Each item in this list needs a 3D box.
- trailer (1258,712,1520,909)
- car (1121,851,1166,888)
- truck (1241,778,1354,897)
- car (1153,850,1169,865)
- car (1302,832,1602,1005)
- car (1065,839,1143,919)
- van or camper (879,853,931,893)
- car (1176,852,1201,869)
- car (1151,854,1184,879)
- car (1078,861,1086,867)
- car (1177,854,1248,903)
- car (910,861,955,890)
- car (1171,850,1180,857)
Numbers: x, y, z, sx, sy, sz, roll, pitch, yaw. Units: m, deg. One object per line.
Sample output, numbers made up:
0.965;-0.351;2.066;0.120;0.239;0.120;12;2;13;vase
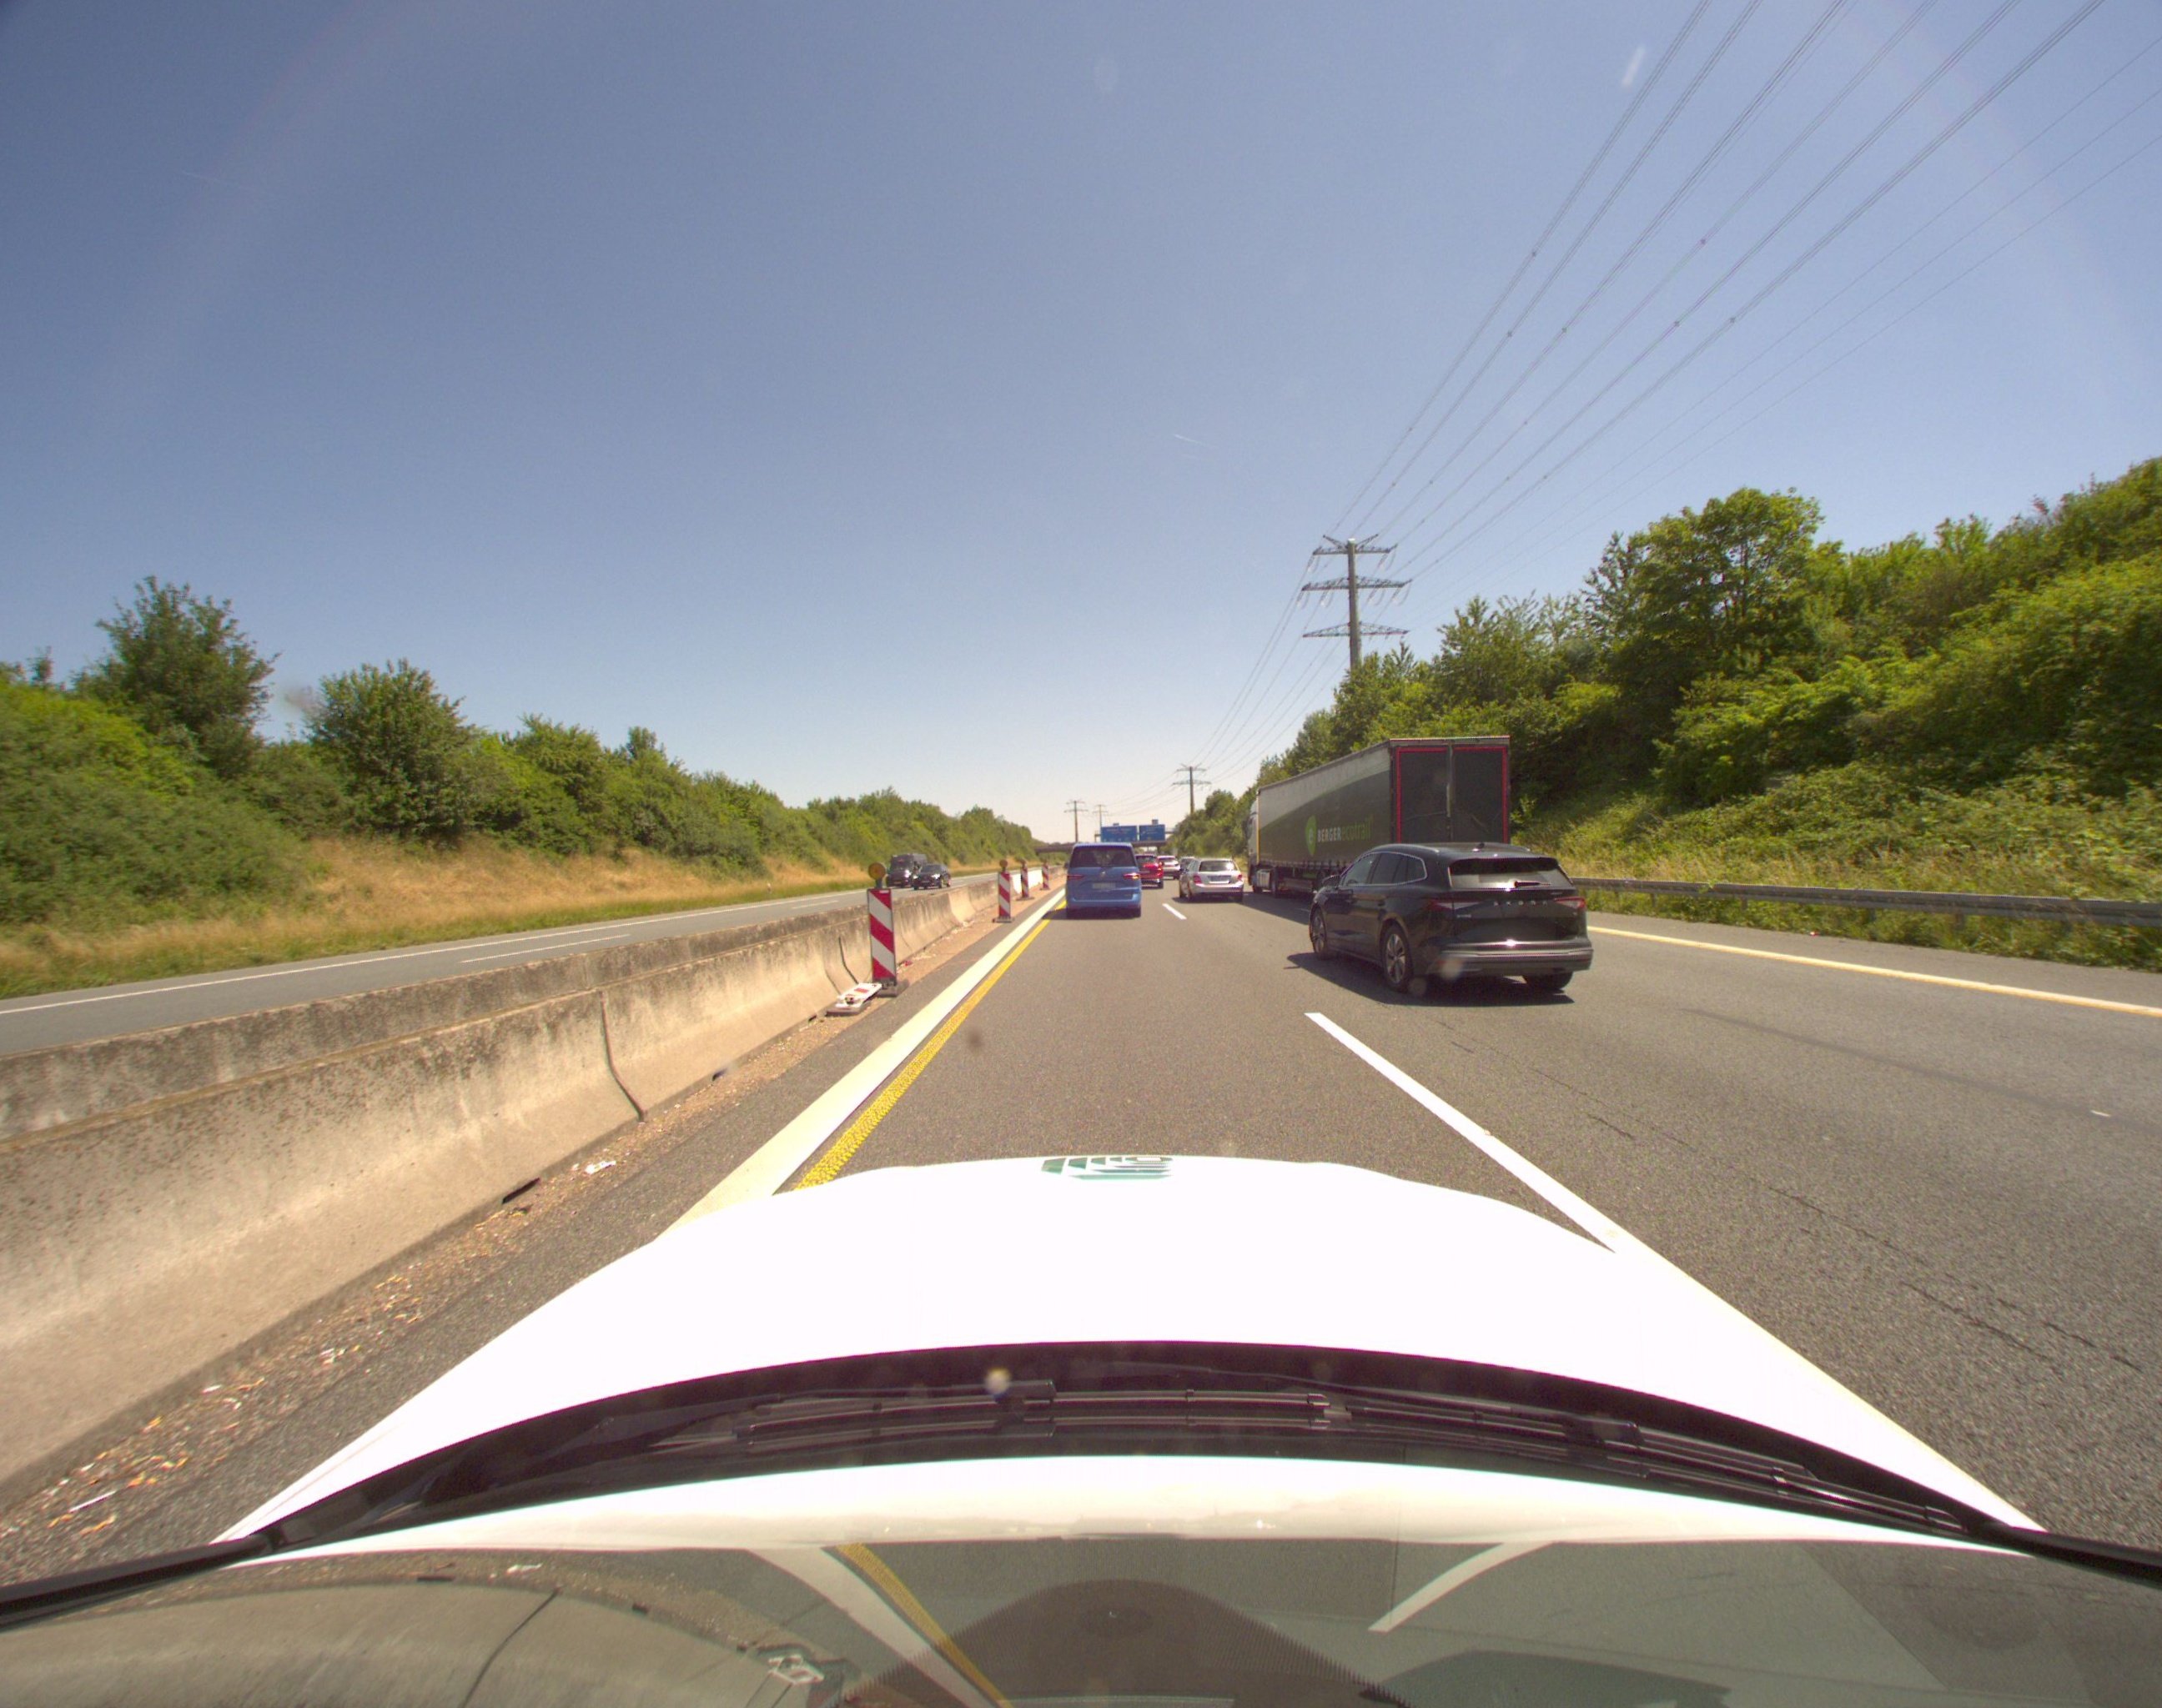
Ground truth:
7.765;-0.844;23.320;2.773;4.047;13.114;0;0;1;trailer
2.960;0.740;39.063;1.868;1.671;4.360;0;-1;1;car
7.925;-0.553;30.577;2.724;4.047;5.793;0;-1;0;truck
10.989;0.425;111.868;1.791;2.014;4.227;0;-1;1;car
4.156;0.634;10.016;1.695;1.655;4.429;0;-1;0;car
0.577;0.609;21.686;1.868;1.912;4.360;0;-1;1;car
-13.313;1.410;62.287;2.215;2.710;7.080;-4;-1;0;van or camper
9.040;0.551;68.532;1.694;1.448;3.788;0;-1;1;car
5.601;0.793;52.866;1.791;1.594;4.228;0;-1;1;car
0.176;2.616;217.205;1.855;1.490;4.495;-3;0;2;car
4.362;0.772;27.636;1.764;1.517;4.360;0;0;1;car
-9.589;1.358;52.851;1.987;1.684;4.153;-4;0;1;car
23.077;0.005;199.037;1.868;1.671;4.360;0;-1;1;car
